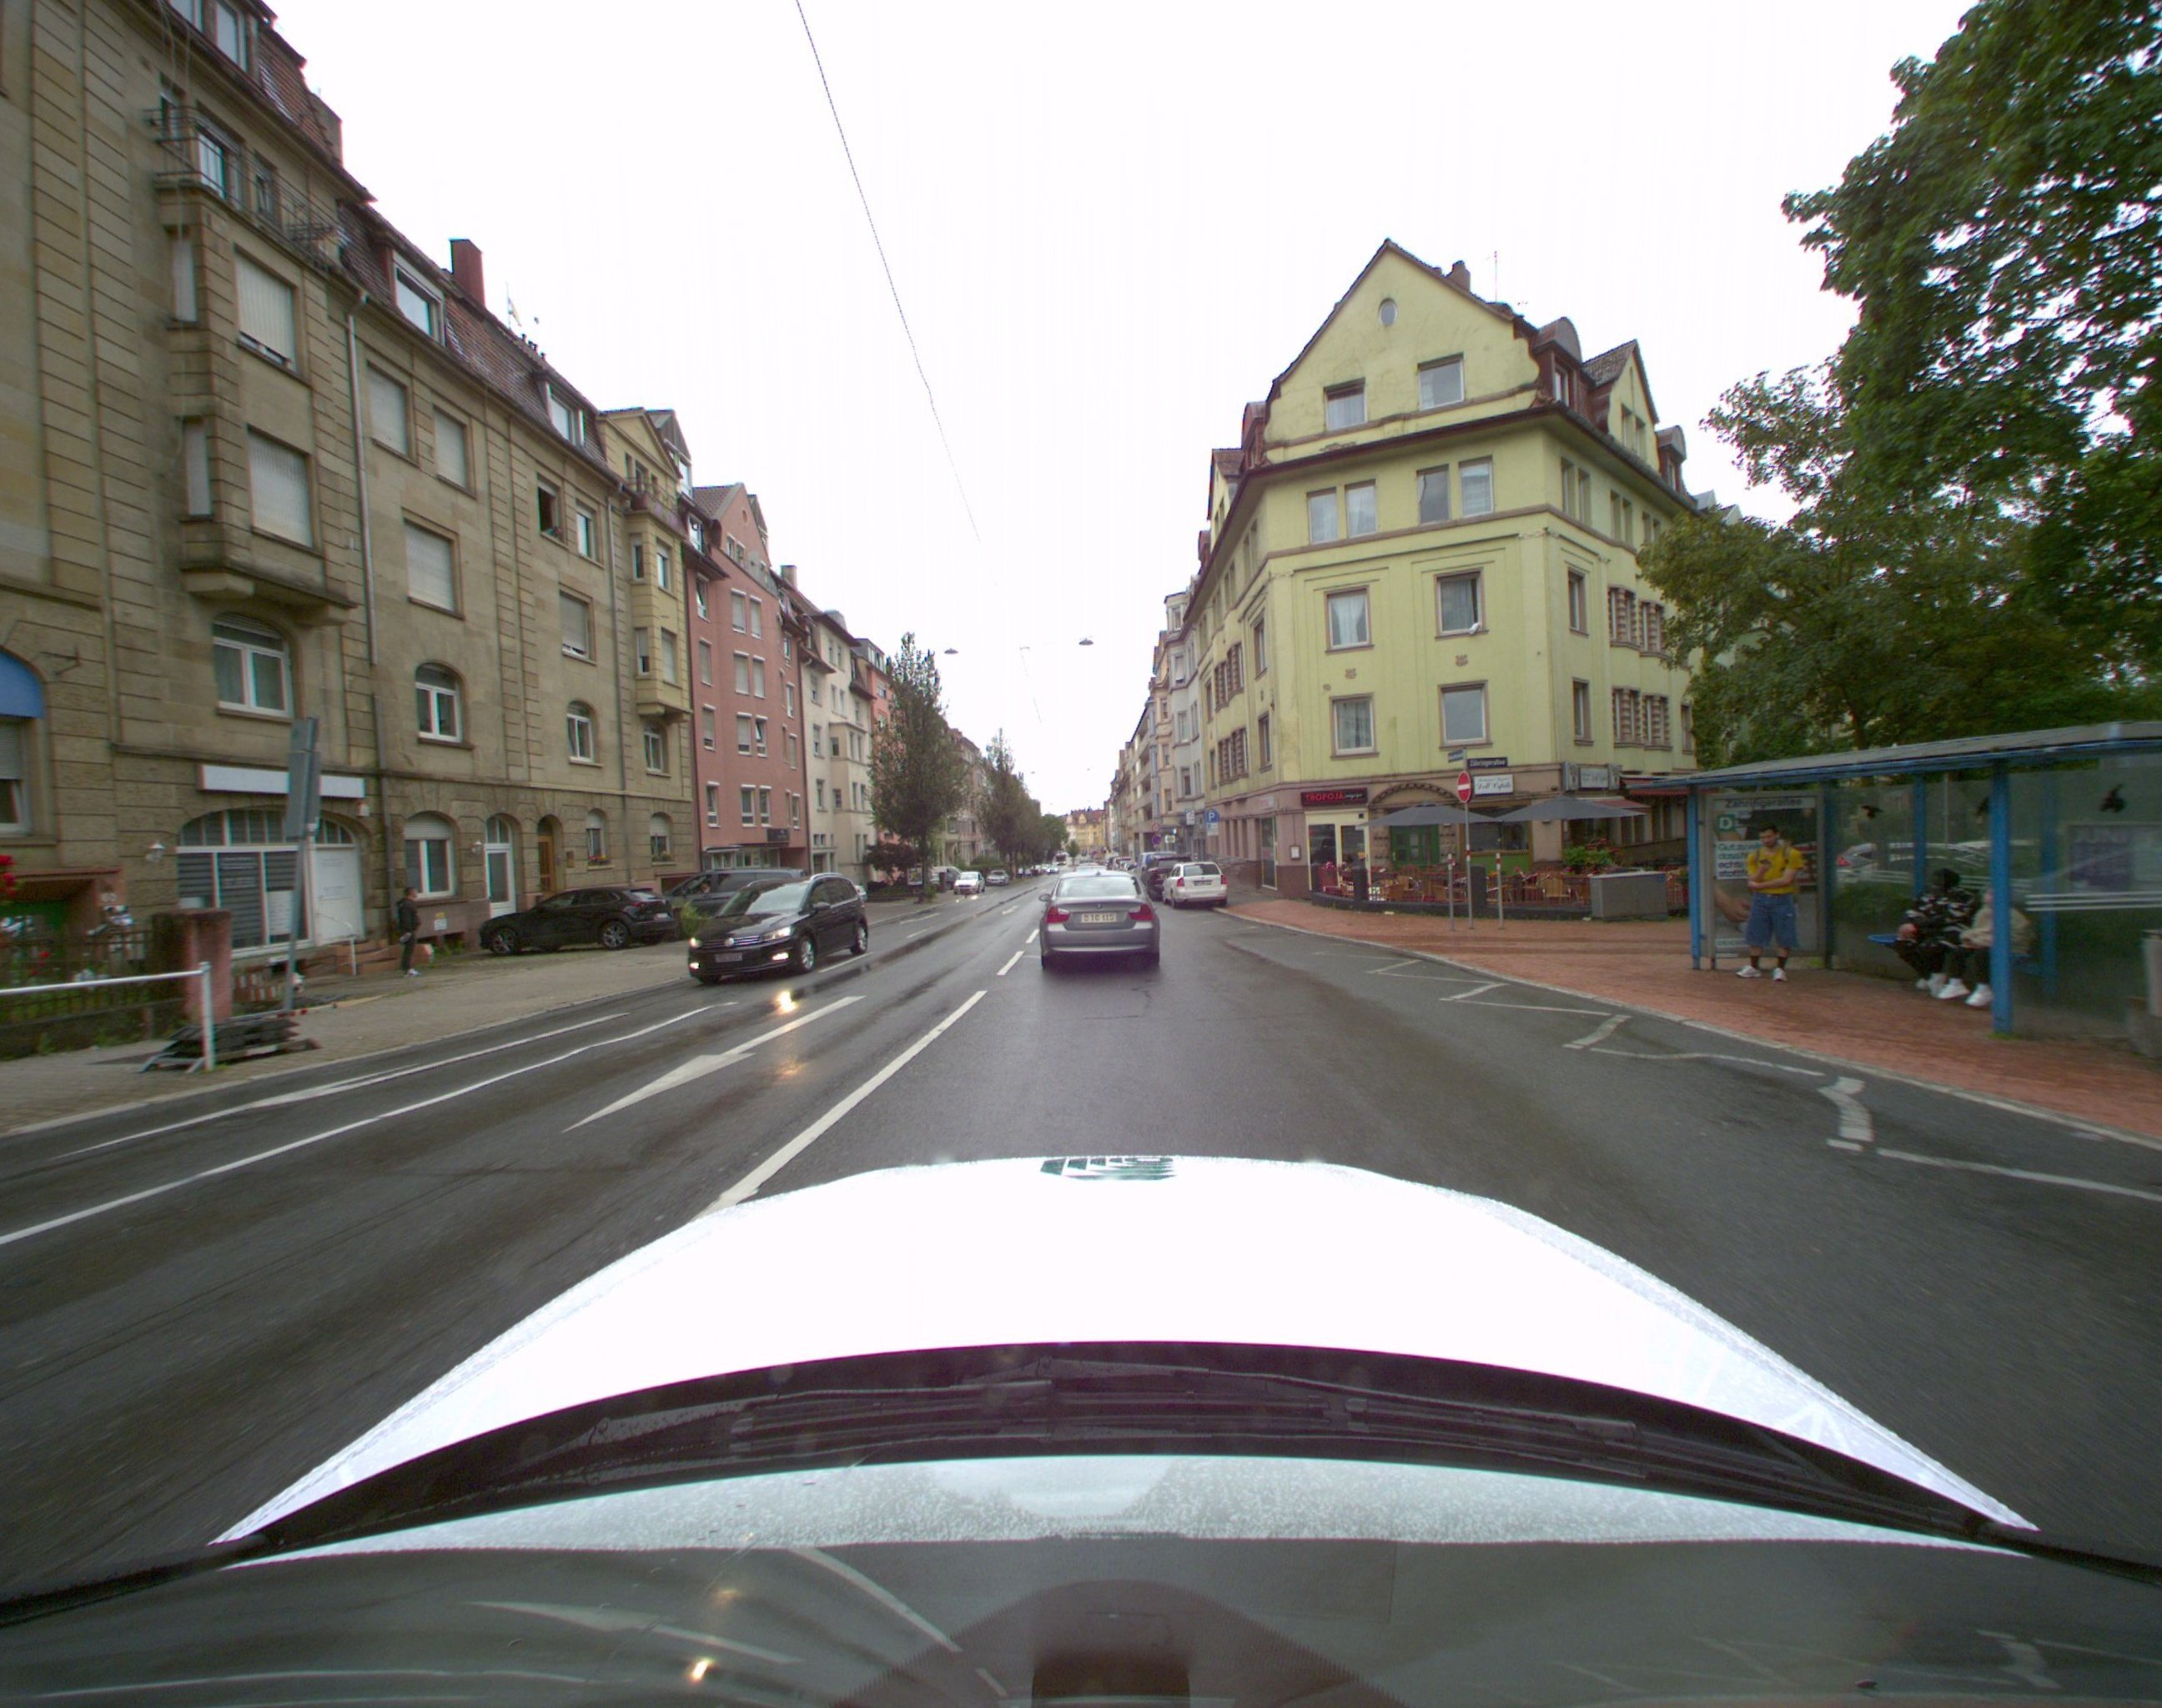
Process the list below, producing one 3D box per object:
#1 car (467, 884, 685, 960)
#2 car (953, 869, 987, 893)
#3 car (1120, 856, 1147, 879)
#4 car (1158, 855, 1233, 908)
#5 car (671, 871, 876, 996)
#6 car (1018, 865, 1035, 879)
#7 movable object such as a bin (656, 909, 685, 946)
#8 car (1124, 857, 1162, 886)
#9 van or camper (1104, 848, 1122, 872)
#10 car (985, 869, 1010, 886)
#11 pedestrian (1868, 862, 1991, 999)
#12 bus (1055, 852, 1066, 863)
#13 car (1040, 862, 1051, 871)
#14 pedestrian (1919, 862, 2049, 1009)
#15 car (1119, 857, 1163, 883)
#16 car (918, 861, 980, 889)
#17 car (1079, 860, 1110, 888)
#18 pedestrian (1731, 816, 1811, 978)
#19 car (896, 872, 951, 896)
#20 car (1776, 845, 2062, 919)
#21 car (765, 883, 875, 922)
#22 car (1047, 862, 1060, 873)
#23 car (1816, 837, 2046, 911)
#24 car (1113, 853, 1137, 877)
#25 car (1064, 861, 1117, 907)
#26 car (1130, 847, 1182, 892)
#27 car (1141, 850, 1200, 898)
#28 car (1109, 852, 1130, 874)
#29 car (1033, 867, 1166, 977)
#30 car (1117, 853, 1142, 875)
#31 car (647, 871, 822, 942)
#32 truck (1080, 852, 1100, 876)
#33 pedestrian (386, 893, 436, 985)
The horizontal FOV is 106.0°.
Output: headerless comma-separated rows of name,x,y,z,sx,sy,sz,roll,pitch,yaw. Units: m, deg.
car,-12.359,1.645,20.130,4.134,1.510,1.873,-3,0,0
car,-7.497,1.827,55.358,1.615,1.445,4.006,-4,-1,1
car,3.605,0.903,56.797,1.606,1.474,4.015,-2,-1,0
car,3.747,0.859,27.289,1.793,1.565,4.491,-2,-1,-1
car,-5.161,1.231,14.385,1.614,1.649,4.422,-6,-1,2
car,-6.884,2.319,103.560,1.761,1.593,3.998,-6,-1,-1
movable object such as a bin,-11.053,1.969,21.944,0.502,0.950,0.441,-2,-1,5
car,3.272,0.897,43.389,1.672,1.375,4.276,-3,-1,0
van or camper,4.087,0.746,102.214,2.024,2.869,6.892,-1,0,4
car,-7.661,2.116,74.979,1.720,1.484,3.990,-2,-1,1
pedestrian,8.324,0.729,8.018,0.565,1.280,0.621,-2,0,13
bus,-5.792,1.044,232.751,2.660,3.024,7.670,-5,-1,0
car,-6.346,2.198,145.455,1.685,1.523,3.737,-6,-1,1
pedestrian,8.223,0.720,7.437,0.565,1.280,0.536,-2,0,12
car,3.623,0.975,50.081,1.873,1.467,4.765,-2,-1,-6
car,-11.259,1.795,69.888,4.813,1.974,2.048,-4,-1,0
car,0.810,1.170,47.691,1.691,1.483,3.793,-2,-1,1
pedestrian,7.860,0.477,9.300,0.553,1.775,0.549,-2,0,28
car,-11.897,2.234,61.590,3.878,1.457,1.787,-5,-1,-8
car,19.787,0.625,19.436,1.802,1.528,4.594,-1,0,-39
car,-12.365,2.277,38.785,4.534,1.401,1.767,-5,-1,-1
car,-4.160,2.036,124.690,1.631,1.508,3.754,-6,-1,0
car,21.870,0.490,21.090,1.802,1.727,3.954,-1,0,-39
car,4.125,1.036,77.007,1.975,2.007,4.624,-5,-1,0
car,0.356,1.011,28.436,1.675,1.428,3.742,-2,-1,2
car,3.490,0.727,38.686,1.913,1.827,5.009,-5,-1,0
car,3.499,0.774,32.620,1.872,1.731,4.676,-2,-1,0
car,4.299,1.008,91.779,1.975,2.166,4.749,-5,-1,0
car,0.277,0.950,12.932,1.763,1.428,3.741,-2,-1,1
car,4.135,0.873,70.155,1.720,1.670,4.288,-6,-1,0
car,-10.704,1.572,25.488,4.674,1.938,1.857,-2,0,-10
truck,0.970,1.092,88.472,2.025,2.412,4.825,-2,-1,0
pedestrian,-13.369,1.678,16.252,0.474,1.777,0.567,-2,0,9
